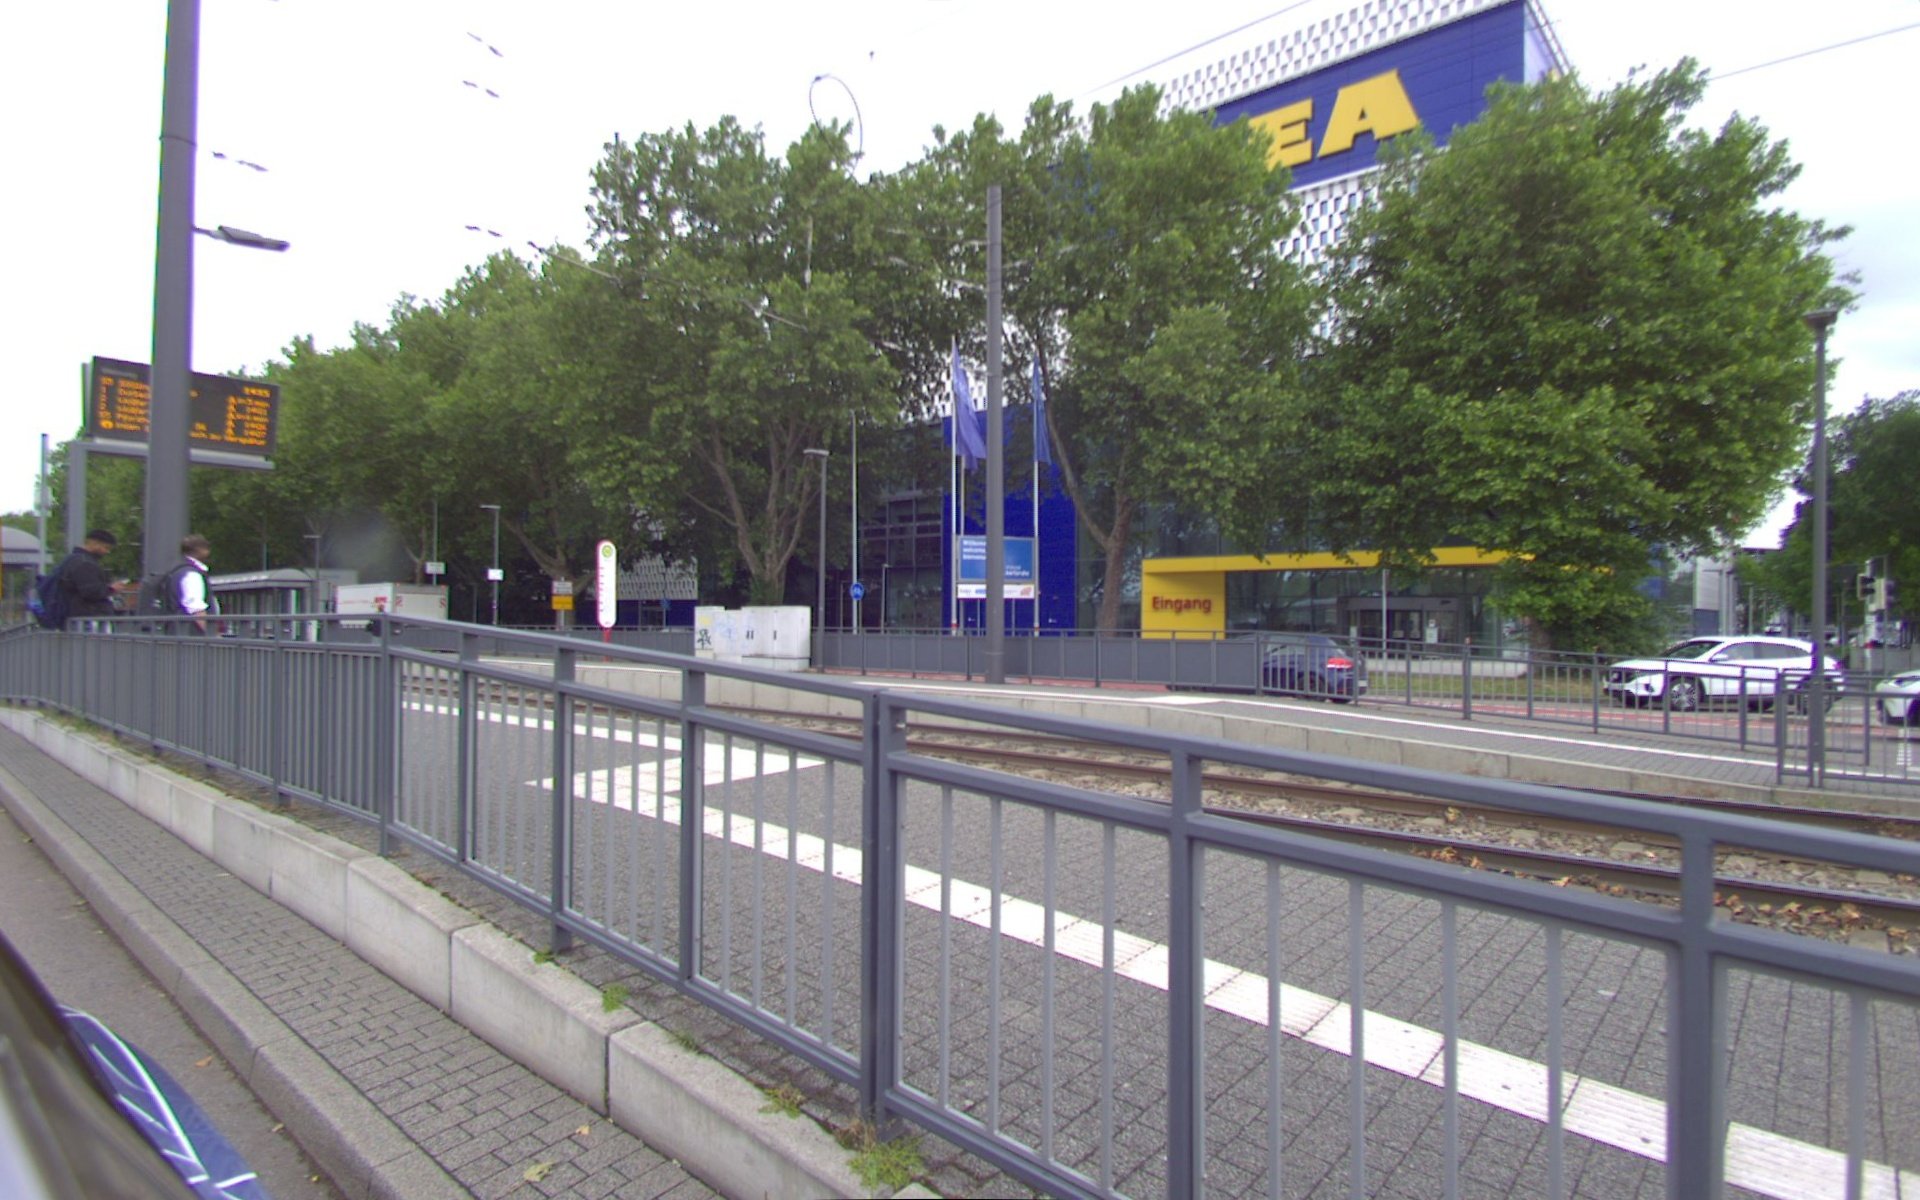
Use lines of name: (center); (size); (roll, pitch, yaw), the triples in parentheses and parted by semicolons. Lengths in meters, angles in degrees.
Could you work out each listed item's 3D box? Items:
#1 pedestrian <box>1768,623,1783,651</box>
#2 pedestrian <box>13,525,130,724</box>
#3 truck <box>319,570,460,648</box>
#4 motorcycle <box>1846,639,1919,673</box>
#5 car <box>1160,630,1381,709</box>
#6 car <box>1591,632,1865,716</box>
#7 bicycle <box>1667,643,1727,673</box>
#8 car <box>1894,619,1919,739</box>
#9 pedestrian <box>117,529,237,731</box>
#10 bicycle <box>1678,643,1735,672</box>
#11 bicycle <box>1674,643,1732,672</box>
pedestrian: (51.294, 2.330, 63.656); (0.679, 1.759, 0.797); (0, -1, 43)
pedestrian: (-8.276, 0.212, 9.433); (0.776, 1.755, 0.587); (-1, 0, -45)
truck: (-30.025, 0.565, 53.042); (9.892, 3.691, 3.217); (-1, -4, 41)
motorcycle: (41.610, 2.507, 45.544); (2.491, 1.365, 0.791); (2, 0, 31)
car: (6.299, 1.374, 20.731); (3.998, 1.429, 1.703); (-1, -3, 42)
car: (16.386, 1.545, 21.775); (4.352, 1.597, 1.892); (1, -1, 3)
bicycle: (31.984, 2.504, 43.953); (2.022, 1.165, 0.585); (2, 0, 42)
car: (14.793, 1.090, 12.927); (4.142, 1.598, 1.772); (-1, -4, 42)
pedestrian: (-6.460, 0.230, 8.347); (0.633, 1.571, 0.701); (0, 0, 45)
bicycle: (33.539, 2.571, 45.479); (2.022, 1.165, 0.585); (2, 0, 42)
bicycle: (32.796, 2.521, 44.683); (2.022, 1.165, 0.585); (2, 0, 42)
